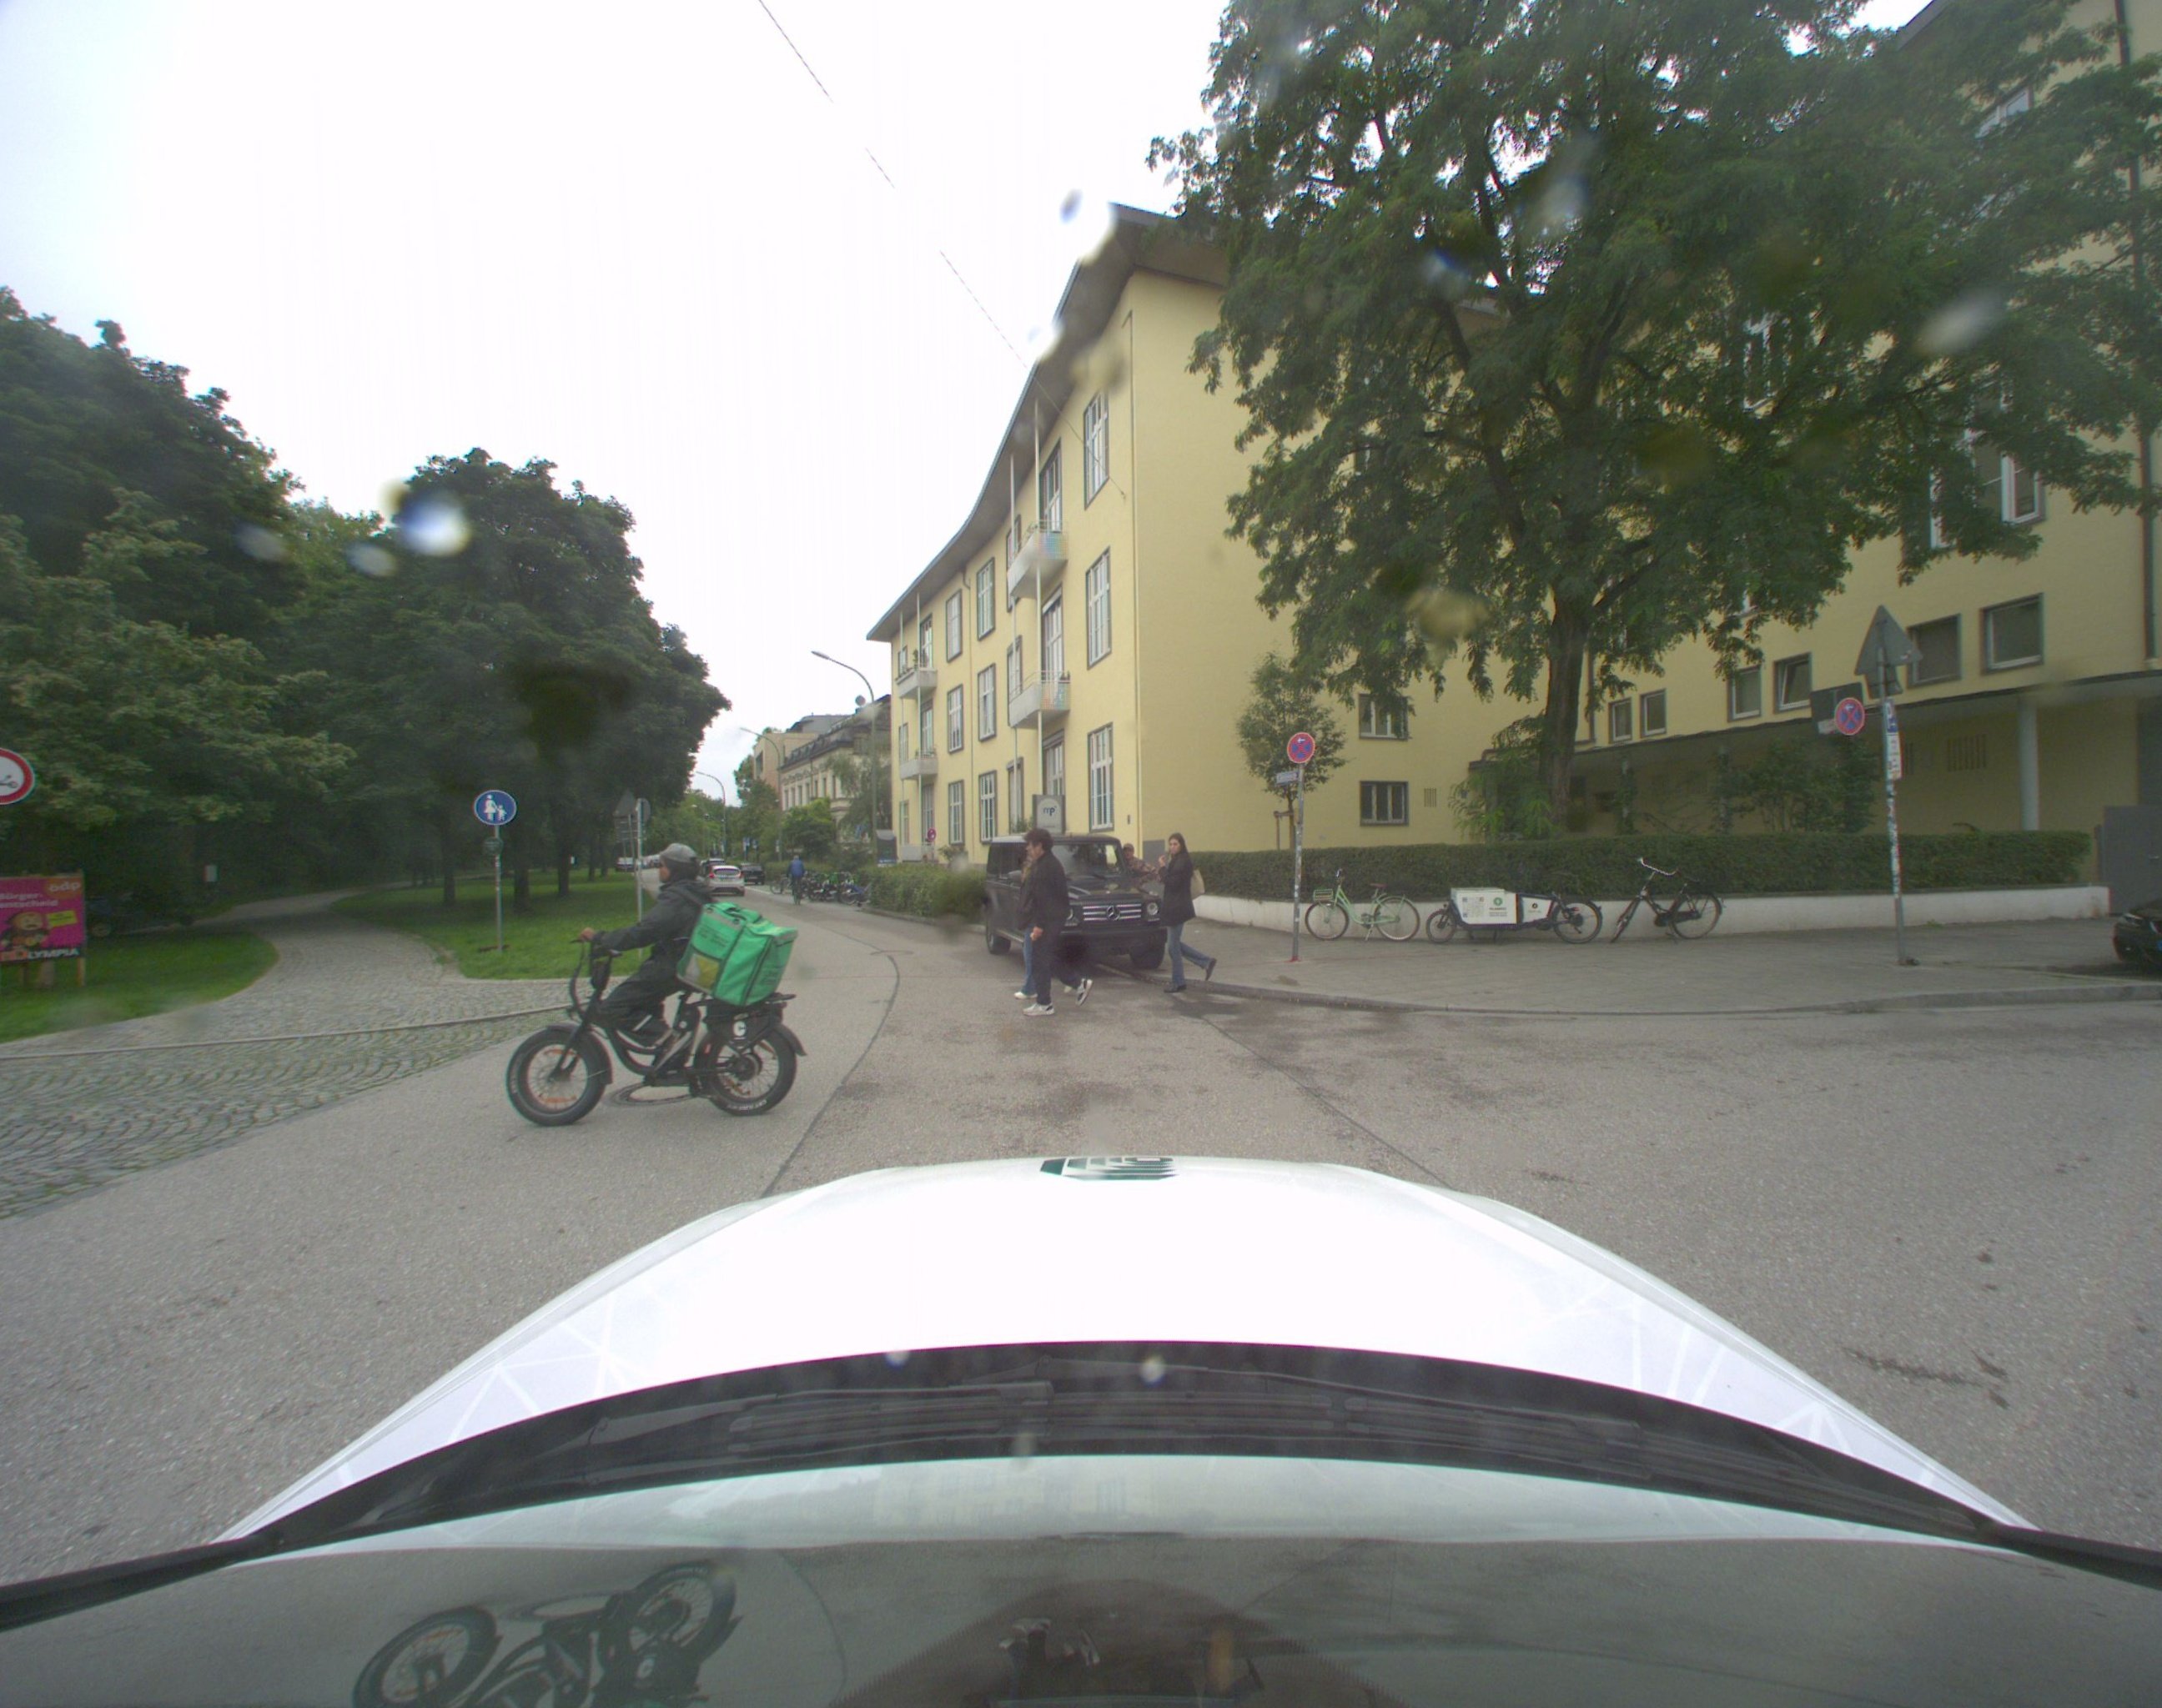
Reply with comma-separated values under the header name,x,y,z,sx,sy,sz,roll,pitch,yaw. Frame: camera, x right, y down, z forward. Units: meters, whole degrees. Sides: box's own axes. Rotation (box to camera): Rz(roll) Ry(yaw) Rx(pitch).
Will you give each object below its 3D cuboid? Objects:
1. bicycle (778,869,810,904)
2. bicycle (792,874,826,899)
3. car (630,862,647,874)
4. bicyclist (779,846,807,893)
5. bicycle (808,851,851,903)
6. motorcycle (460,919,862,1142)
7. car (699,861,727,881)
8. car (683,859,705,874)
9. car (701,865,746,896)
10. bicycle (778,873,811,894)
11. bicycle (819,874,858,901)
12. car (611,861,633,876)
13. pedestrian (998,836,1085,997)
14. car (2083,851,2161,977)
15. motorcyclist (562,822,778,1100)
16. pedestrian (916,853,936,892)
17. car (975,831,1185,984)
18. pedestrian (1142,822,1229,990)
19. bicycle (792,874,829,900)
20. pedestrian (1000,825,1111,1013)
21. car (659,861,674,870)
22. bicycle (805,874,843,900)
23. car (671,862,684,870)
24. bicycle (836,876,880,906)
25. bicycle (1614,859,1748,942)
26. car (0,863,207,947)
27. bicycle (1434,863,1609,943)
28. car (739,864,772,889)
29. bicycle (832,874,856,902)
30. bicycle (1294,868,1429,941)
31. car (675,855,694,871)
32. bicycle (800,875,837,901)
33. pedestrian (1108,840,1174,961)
name,x,y,z,sx,sy,sz,roll,pitch,yaw
bicycle,-10.995,1.216,31.120,0.925,1.252,2.303,-1,0,-24
bicycle,-12.114,1.426,36.307,0.404,1.014,1.547,-2,0,31
car,-65.221,2.043,120.040,2.004,1.600,4.430,-1,0,-25
bicyclist,-11.033,0.587,31.176,0.918,1.764,1.205,-1,0,-24
bicycle,-10.319,0.930,33.401,0.451,2.013,1.688,-2,0,35
motorcycle,-2.395,0.992,4.842,1.967,1.098,0.717,-1,0,-3
car,-32.316,1.468,71.537,1.804,1.680,3.961,-1,0,-31
car,-45.077,1.474,94.779,2.006,1.600,4.213,-1,0,-30
car,-17.368,1.251,39.475,1.757,1.406,3.694,-1,0,-27
bicycle,-14.745,1.503,41.945,0.404,1.014,1.547,-2,0,44
bicycle,-9.870,1.363,33.166,0.362,1.014,1.547,-2,0,40
car,-51.637,1.646,91.627,2.006,1.600,4.425,-1,0,-29
pedestrian,-0.434,0.685,9.263,0.822,1.746,0.742,-1,0,8
car,13.940,0.590,8.832,4.311,1.367,1.660,-1,-3,-4
motorcyclist,-2.389,0.584,4.838,0.894,1.501,0.713,-1,0,-3
pedestrian,-6.941,0.818,36.378,0.635,1.684,0.691,-2,0,-31
car,-0.258,0.670,12.670,1.879,1.887,4.589,-1,0,-19
pedestrian,1.206,0.586,9.585,0.847,1.857,0.766,-2,-1,-1
bicycle,-11.476,1.408,34.595,0.404,1.014,1.547,-2,0,31
pedestrian,-0.241,0.635,8.241,0.984,1.809,0.661,-2,-1,7
car,-81.341,2.261,159.808,2.001,1.600,4.436,-1,0,-21
bicycle,-10.690,1.364,33.933,0.404,1.014,1.548,-2,0,35
car,-86.267,2.469,174.003,2.001,1.600,4.436,-1,0,-21
bicycle,-8.342,1.365,30.502,1.543,1.014,0.363,-2,0,-32
bicycle,8.639,0.652,11.735,1.680,1.130,0.459,-1,0,-7
car,-27.222,1.342,22.351,1.765,2.013,4.024,-2,0,26
bicycle,6.437,0.715,11.997,2.154,1.115,0.642,-1,0,11
car,-21.935,1.474,54.815,1.656,1.558,3.527,-1,0,-28
bicycle,-9.345,1.327,32.147,0.364,1.014,1.539,-2,0,3
bicycle,4.458,0.816,13.049,1.924,1.085,0.532,-4,-2,37
car,-49.974,1.152,102.683,2.077,1.966,4.933,-1,0,-27
bicycle,-11.054,1.420,34.329,0.404,1.014,1.547,-2,0,31
pedestrian,0.902,0.689,12.538,0.846,1.757,0.952,-2,0,-4
